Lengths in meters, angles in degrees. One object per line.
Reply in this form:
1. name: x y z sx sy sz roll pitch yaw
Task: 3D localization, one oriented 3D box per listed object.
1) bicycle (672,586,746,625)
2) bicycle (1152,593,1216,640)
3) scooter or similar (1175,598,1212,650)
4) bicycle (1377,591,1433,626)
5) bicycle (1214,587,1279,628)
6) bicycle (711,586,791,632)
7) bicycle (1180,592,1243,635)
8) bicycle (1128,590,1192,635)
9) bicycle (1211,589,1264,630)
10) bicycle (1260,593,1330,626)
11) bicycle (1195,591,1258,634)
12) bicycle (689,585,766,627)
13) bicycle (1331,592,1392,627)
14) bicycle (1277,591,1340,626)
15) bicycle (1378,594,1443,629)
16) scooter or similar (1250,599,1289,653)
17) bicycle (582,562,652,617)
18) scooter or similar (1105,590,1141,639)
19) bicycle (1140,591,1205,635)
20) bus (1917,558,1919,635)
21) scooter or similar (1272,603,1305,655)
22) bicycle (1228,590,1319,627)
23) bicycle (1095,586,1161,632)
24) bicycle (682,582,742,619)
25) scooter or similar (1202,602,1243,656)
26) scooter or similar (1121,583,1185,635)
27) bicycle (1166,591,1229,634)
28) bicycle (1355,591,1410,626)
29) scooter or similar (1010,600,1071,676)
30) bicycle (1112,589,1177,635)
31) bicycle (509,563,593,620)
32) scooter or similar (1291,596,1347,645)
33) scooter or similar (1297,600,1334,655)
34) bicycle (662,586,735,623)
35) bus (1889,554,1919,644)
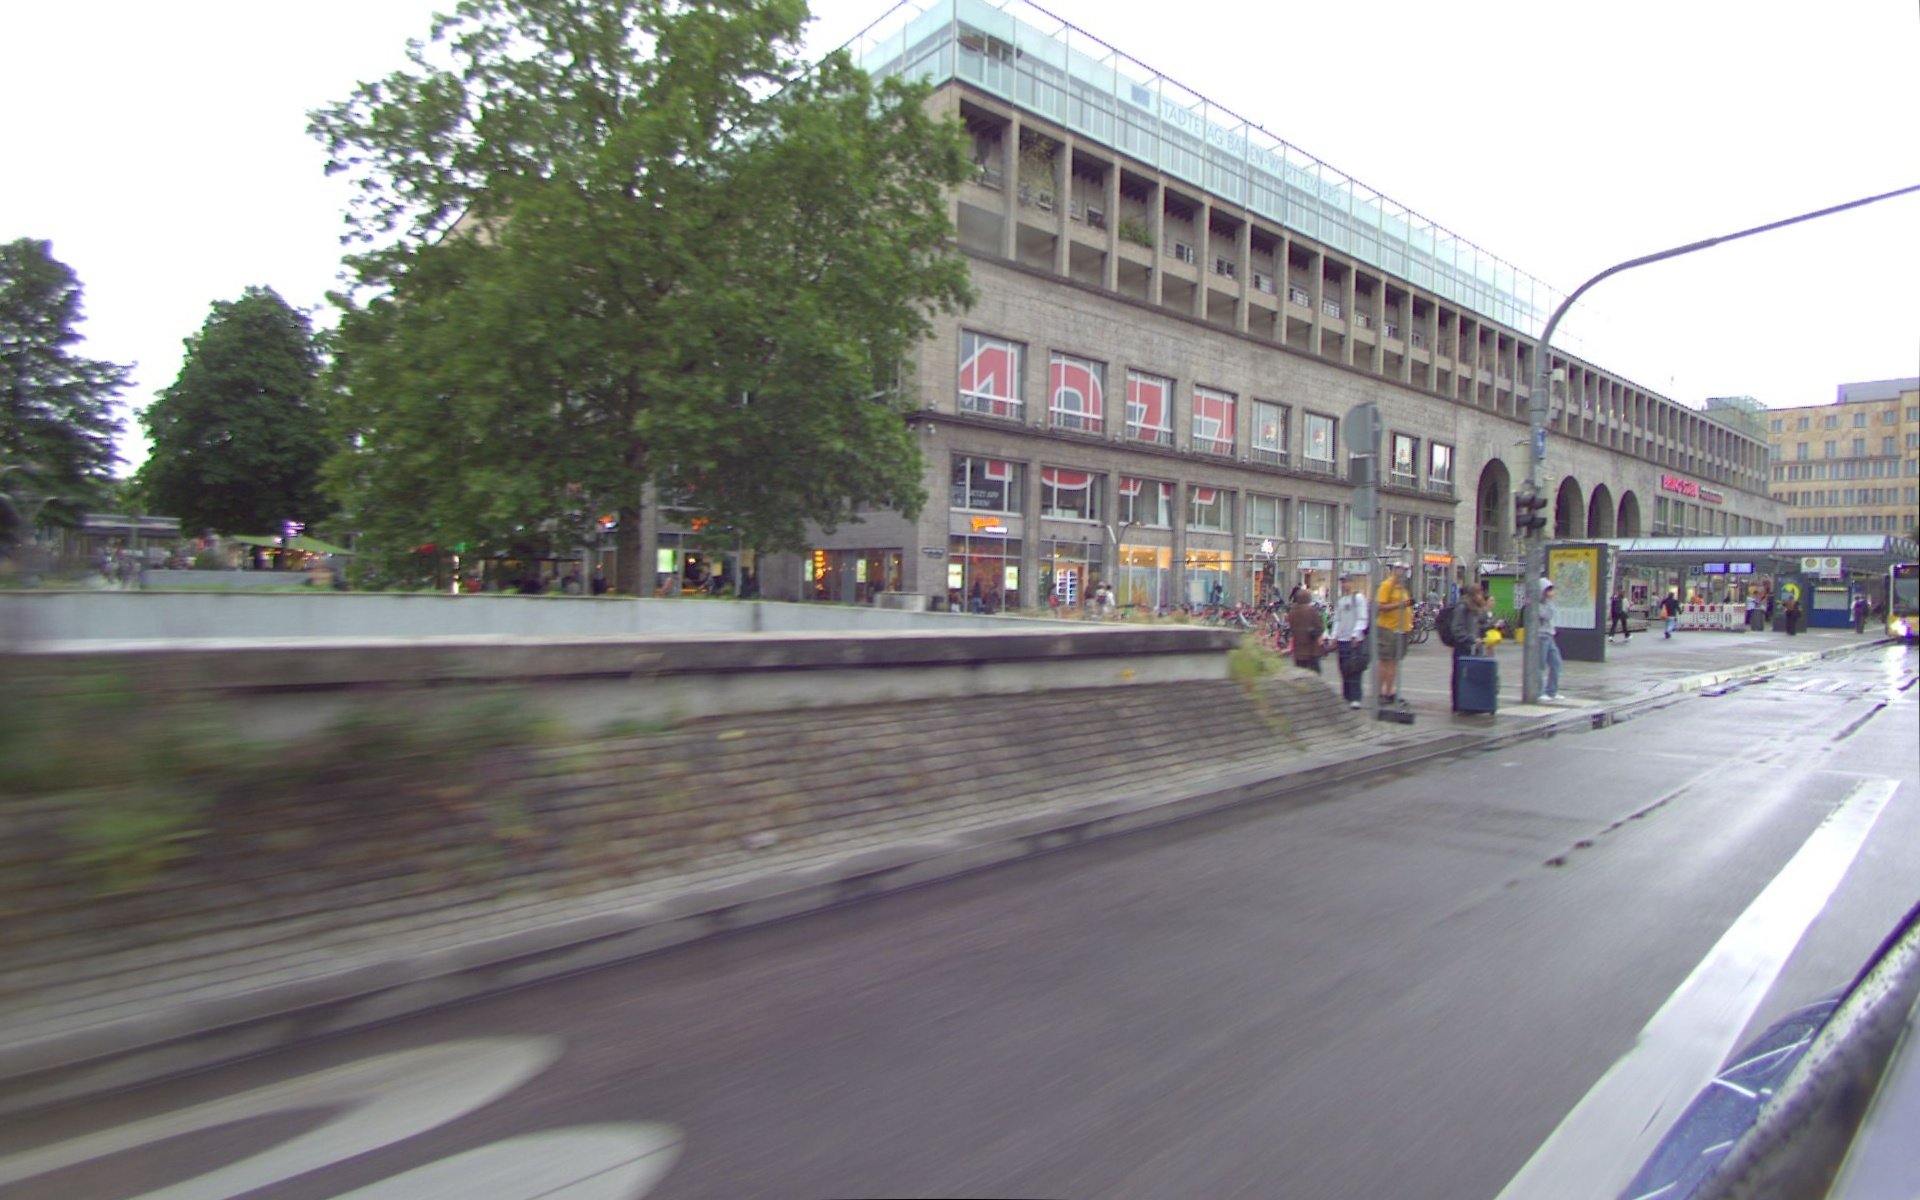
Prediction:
1. bicycle: -7.205 0.165 29.056 1.957 1.068 0.618 0 2 -34
2. bicycle: 7.054 0.490 31.942 0.607 1.351 1.995 0 3 -39
3. scooter or similar: 5.721 0.570 24.847 0.466 1.232 1.100 0 0 -10
4. bicycle: 17.383 0.312 39.598 0.605 1.252 1.999 1 2 -30
5. bicycle: 9.650 0.231 34.170 1.985 1.252 0.610 3 2 37
6. bicycle: -5.485 0.230 26.645 1.957 1.132 0.618 0 2 -34
7. bicycle: 8.118 0.428 32.762 0.607 1.252 1.995 0 3 -39
8. bicycle: 6.129 0.373 31.125 0.607 1.252 1.995 0 3 -39
9. bicycle: 9.208 0.298 33.587 0.607 1.240 1.620 0 3 -39
10. bicycle: 11.715 0.312 35.401 2.217 1.123 0.733 0 0 35
11. bicycle: 8.725 0.401 33.194 0.607 1.281 1.995 0 3 -39
12. bicycle: -6.477 0.160 28.202 1.985 1.115 0.618 0 2 -34
13. bicycle: 14.925 0.336 37.622 2.067 1.153 0.883 3 2 24
14. bicycle: 12.383 0.292 35.973 1.970 1.122 0.815 3 2 35
15. bicycle: 17.000 0.424 38.213 2.144 1.252 0.619 2 2 -6
16. scooter or similar: 7.696 0.628 25.136 1.152 1.297 0.369 0 0 -40
17. bicycle: -10.587 -0.322 31.279 1.957 1.654 0.618 0 0 -34
18. scooter or similar: 4.411 0.382 27.311 0.614 1.276 1.739 0 0 22
19. bicycle: 6.594 0.392 31.518 0.607 1.252 1.995 0 3 -39
20. bus: 45.237 -0.187 44.860 8.975 3.288 3.147 -1 0 -41
21. scooter or similar: 8.041 0.699 24.778 0.940 1.222 0.305 0 0 -40
22. bicycle: 10.812 0.274 34.953 2.871 1.122 0.868 4 3 37
23. bicycle: 4.982 0.246 30.071 0.607 1.252 1.995 0 3 -39
24. bicycle: -8.724 0.020 35.654 1.974 1.271 0.662 1 0 -1
25. scooter or similar: 6.386 0.685 24.668 0.429 1.266 1.368 0 0 -10
26. scooter or similar: 5.445 0.263 28.651 1.678 1.446 0.623 0 0 1
27. bicycle: 7.569 0.385 32.347 0.607 1.252 1.995 0 3 -39
28. bicycle: 16.553 0.313 39.671 0.605 1.252 1.998 1 2 -31
29. scooter or similar: 1.368 0.619 17.108 1.139 1.232 0.352 0 0 -43
30. bicycle: 5.567 0.347 30.648 0.607 1.252 1.995 0 3 -39
31. bicycle: -11.719 -0.239 29.018 2.090 1.581 0.796 0 0 -33
32. scooter or similar: 9.579 0.531 26.985 1.299 1.272 0.585 0 0 36
33. scooter or similar: 8.358 0.631 23.763 1.080 1.252 0.325 0 0 -40
34. bicycle: -7.641 0.132 29.615 1.957 1.038 0.618 0 2 -34
35. bus: 38.466 -0.068 38.919 9.082 3.245 3.118 -1 0 -41
